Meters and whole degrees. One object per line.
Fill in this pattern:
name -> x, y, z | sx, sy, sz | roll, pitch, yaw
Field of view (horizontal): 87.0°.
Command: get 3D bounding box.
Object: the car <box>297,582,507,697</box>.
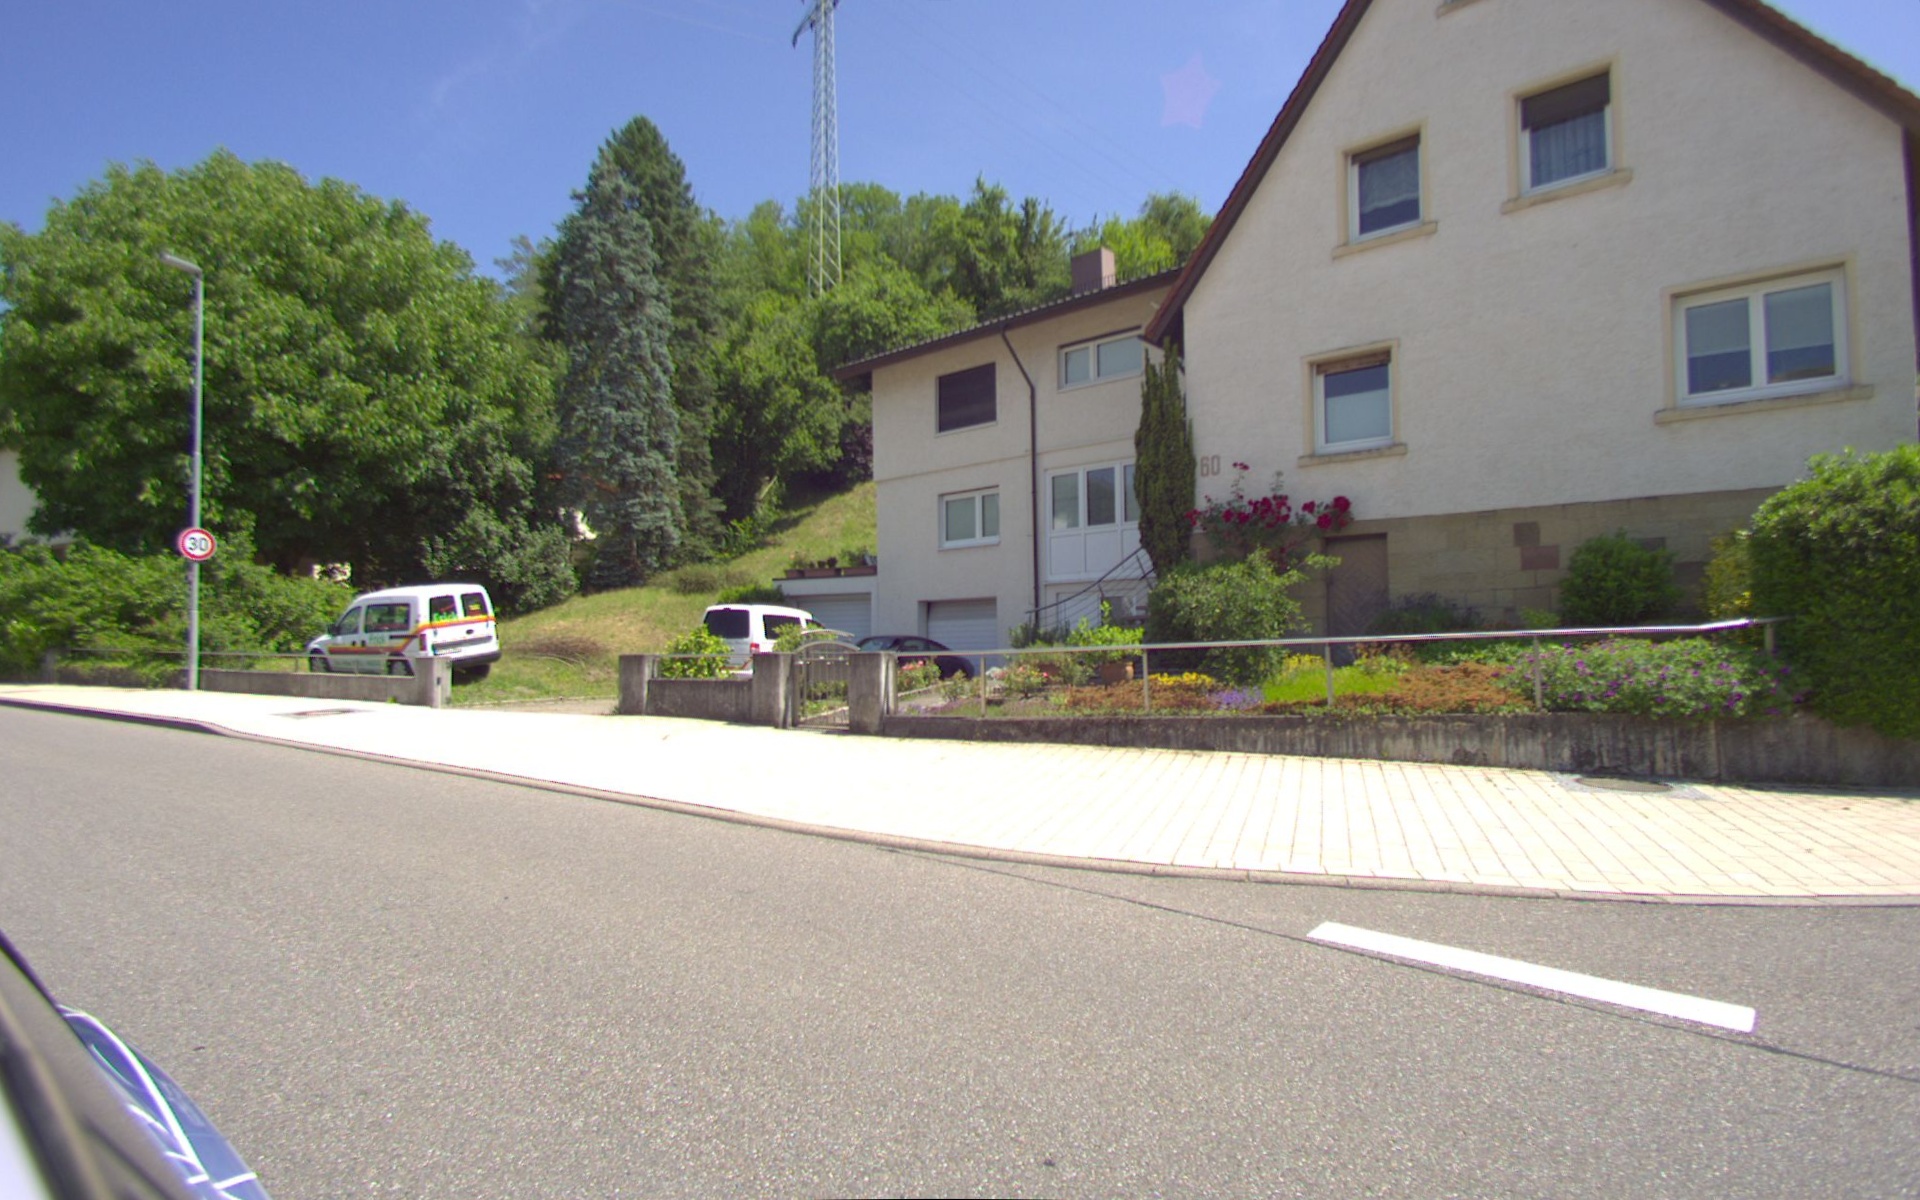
car -> -10.545, 0.706, 19.068 | 3.985, 1.963, 1.687 | -1, -1, 31

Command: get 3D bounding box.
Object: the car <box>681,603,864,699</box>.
car -> -3.849, 1.100, 21.413 | 1.801, 1.803, 3.964 | -4, -4, 26
